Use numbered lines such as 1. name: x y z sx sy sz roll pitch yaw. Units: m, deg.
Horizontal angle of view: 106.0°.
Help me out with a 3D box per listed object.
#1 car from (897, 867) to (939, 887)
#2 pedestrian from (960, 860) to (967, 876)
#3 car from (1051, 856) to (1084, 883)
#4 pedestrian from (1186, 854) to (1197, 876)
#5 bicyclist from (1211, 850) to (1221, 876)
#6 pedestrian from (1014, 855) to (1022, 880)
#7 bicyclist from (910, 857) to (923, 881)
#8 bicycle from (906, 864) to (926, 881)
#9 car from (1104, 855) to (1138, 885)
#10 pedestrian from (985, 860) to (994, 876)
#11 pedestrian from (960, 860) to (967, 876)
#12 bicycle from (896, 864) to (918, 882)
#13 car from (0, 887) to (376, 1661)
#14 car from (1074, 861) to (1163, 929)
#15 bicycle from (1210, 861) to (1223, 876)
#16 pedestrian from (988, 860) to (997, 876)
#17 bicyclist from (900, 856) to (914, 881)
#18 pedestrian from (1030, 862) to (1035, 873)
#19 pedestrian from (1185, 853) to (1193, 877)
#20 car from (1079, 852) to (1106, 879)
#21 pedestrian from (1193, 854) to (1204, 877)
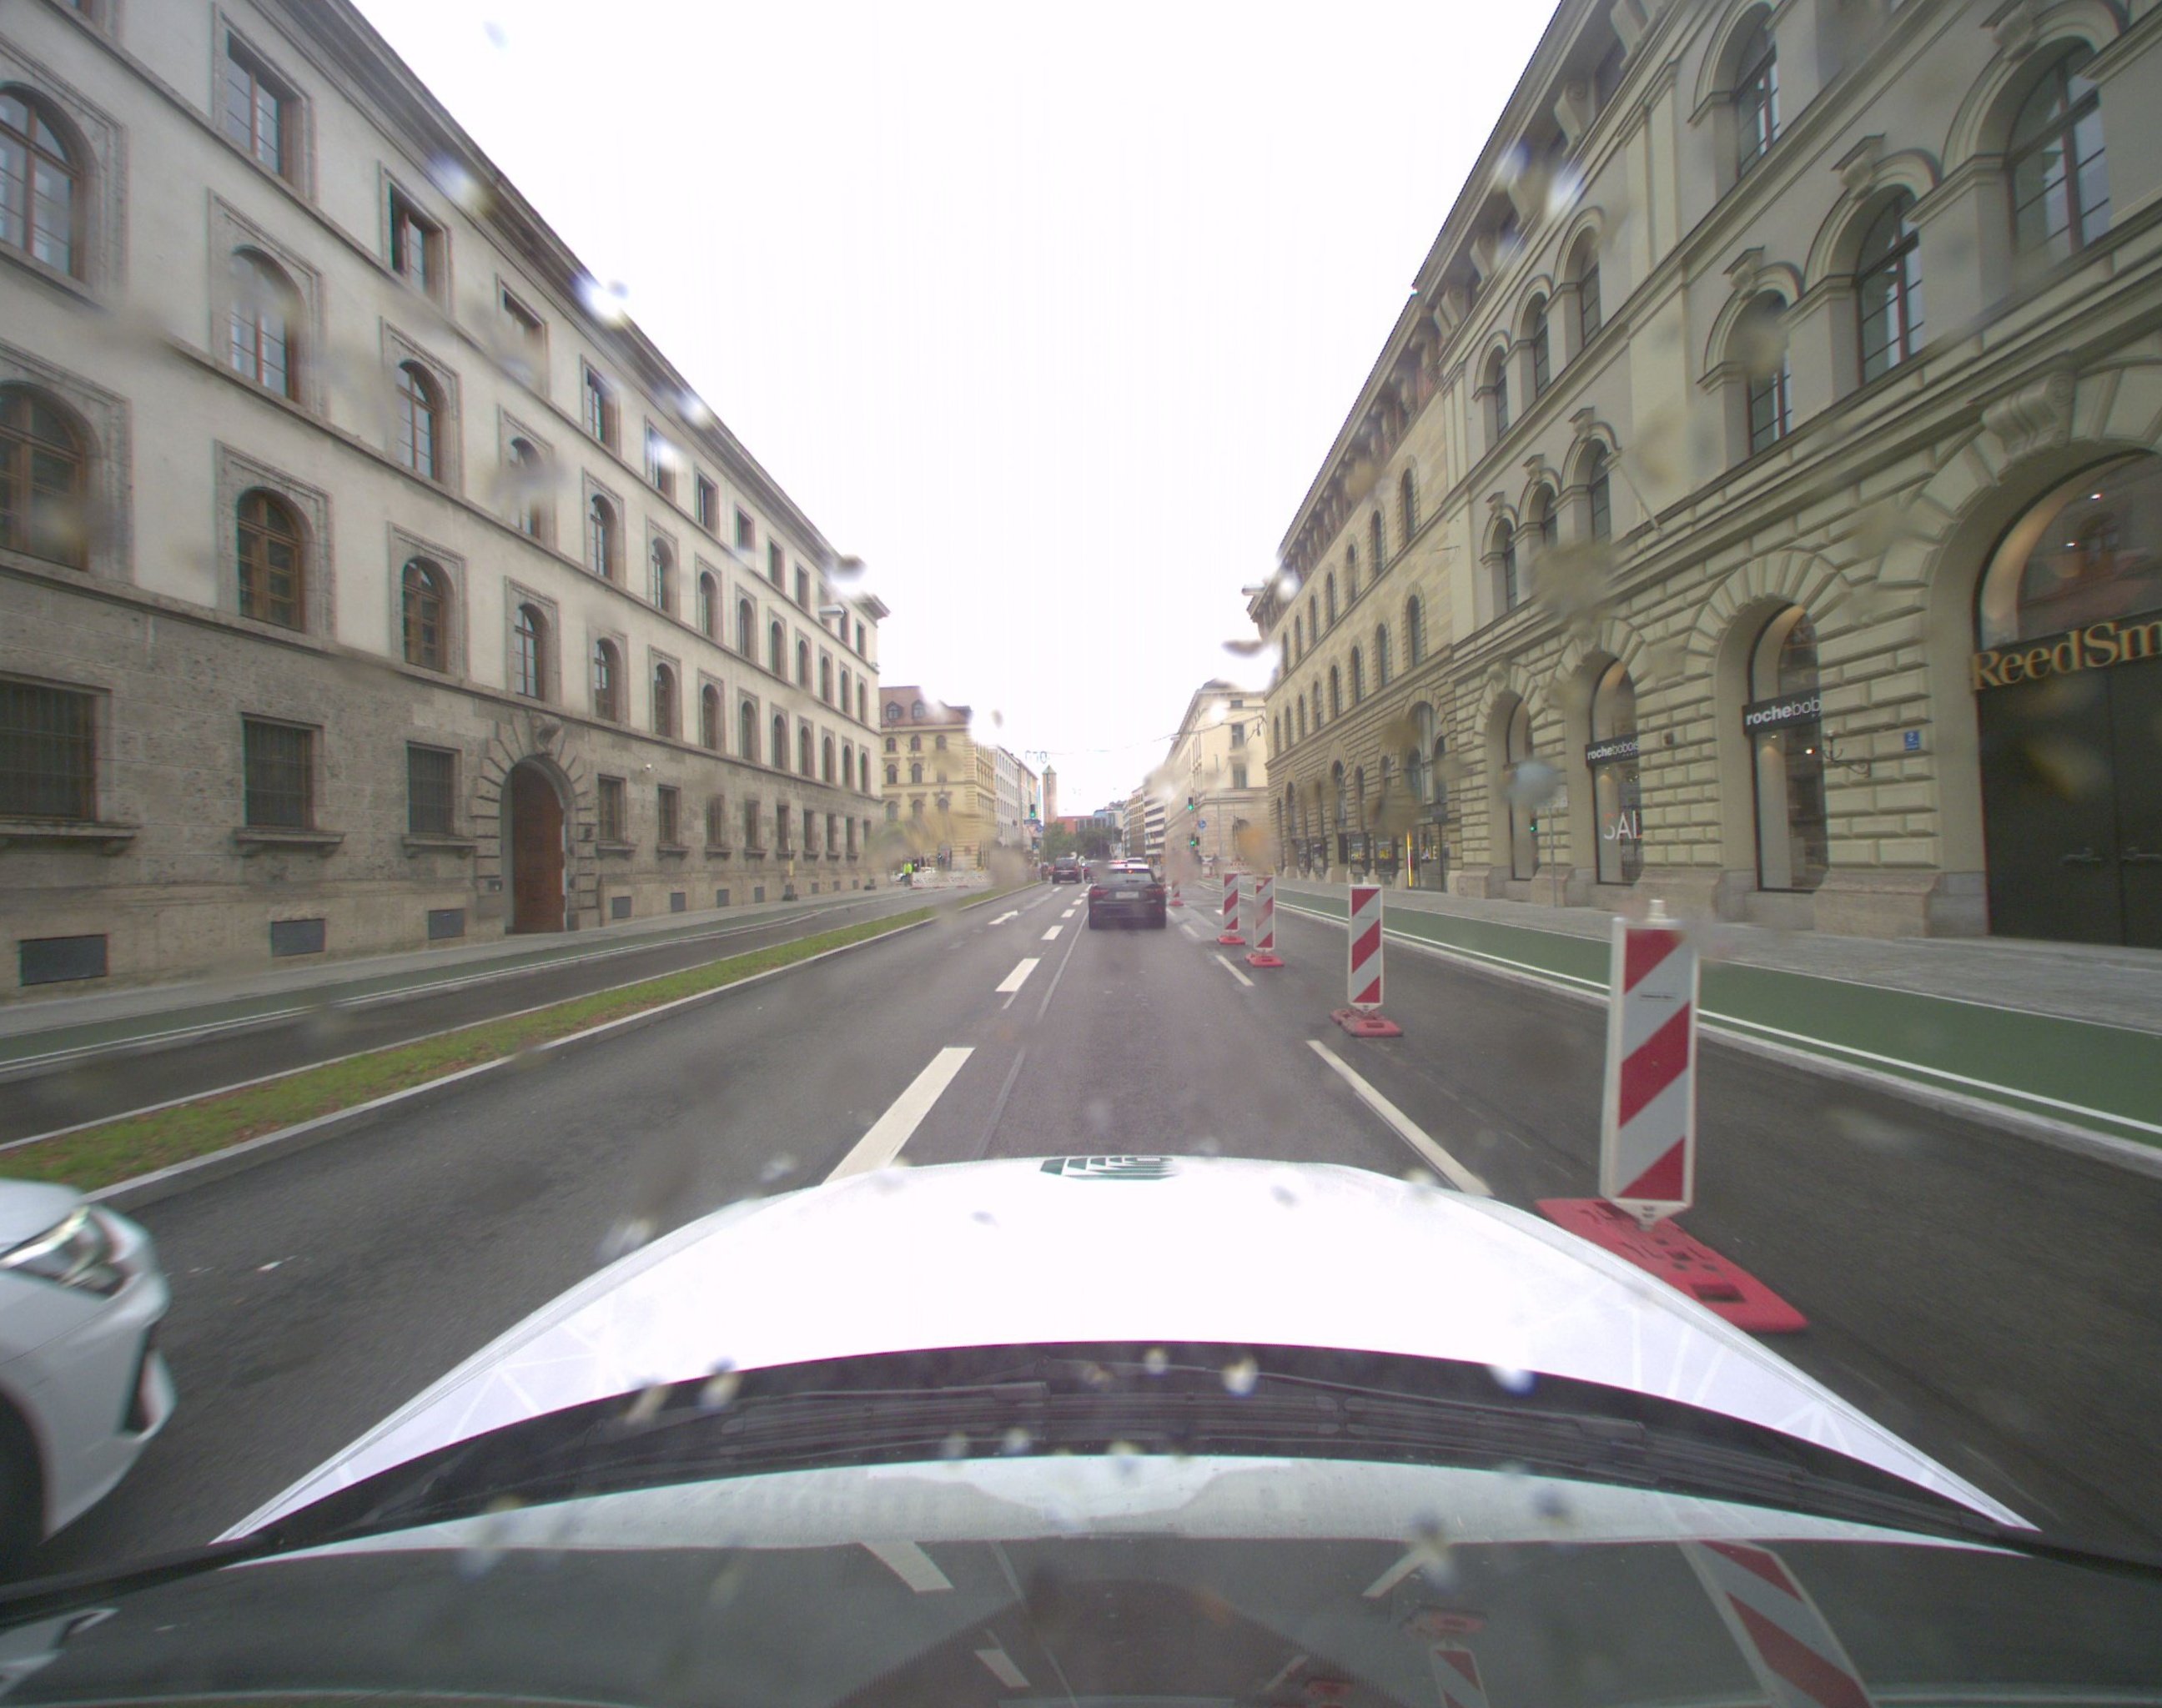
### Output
1. car: -16.181 2.289 81.039 3.730 1.798 1.867 -2 -1 -2
2. pedestrian: -13.238 1.578 91.554 0.733 1.772 0.737 -1 -1 -8
3. car: -0.846 0.984 52.201 1.858 1.601 3.852 -2 0 2
4. pedestrian: 7.939 0.785 58.614 0.699 1.567 0.585 -1 -1 4
5. bicyclist: 9.704 0.615 58.429 0.564 1.854 0.799 -1 -1 -2
6. pedestrian: -4.482 0.944 57.732 0.512 1.743 1.040 -2 -1 -7
7. bicyclist: -12.382 1.135 61.241 0.794 1.776 0.690 -1 -1 6
8. bicycle: -12.384 1.389 61.213 0.783 1.242 2.203 -1 0 7
9. car: 2.257 0.872 46.470 1.763 1.617 4.000 -1 0 0
10. pedestrian: -10.378 1.588 92.212 0.727 1.772 0.765 -1 -1 23
11. pedestrian: -13.309 1.613 92.307 0.733 1.772 0.737 -1 -1 -8
12. bicycle: -12.411 1.340 58.108 0.783 1.242 2.453 -1 0 7
13. car: -2.966 0.805 0.109 1.807 1.425 4.452 -1 0 1
14. car: 0.878 0.894 19.220 1.856 1.388 4.002 -1 0 2
15. bicycle: 9.712 1.049 58.434 0.583 1.011 1.655 -1 0 -1
16. pedestrian: -10.057 1.575 92.944 0.727 1.772 0.743 -1 -1 23
17. bicyclist: -12.410 1.048 58.107 0.794 1.748 0.690 -1 -1 6
18. pedestrian: -7.959 2.154 133.875 0.734 1.772 0.736 -1 -1 2
19. pedestrian: 7.513 0.751 56.768 0.529 1.620 0.674 -1 -1 4
20. car: 0.907 0.901 64.306 1.986 2.013 4.002 -2 0 2
21. pedestrian: 8.348 0.804 57.693 0.699 1.567 0.682 -1 -1 4
